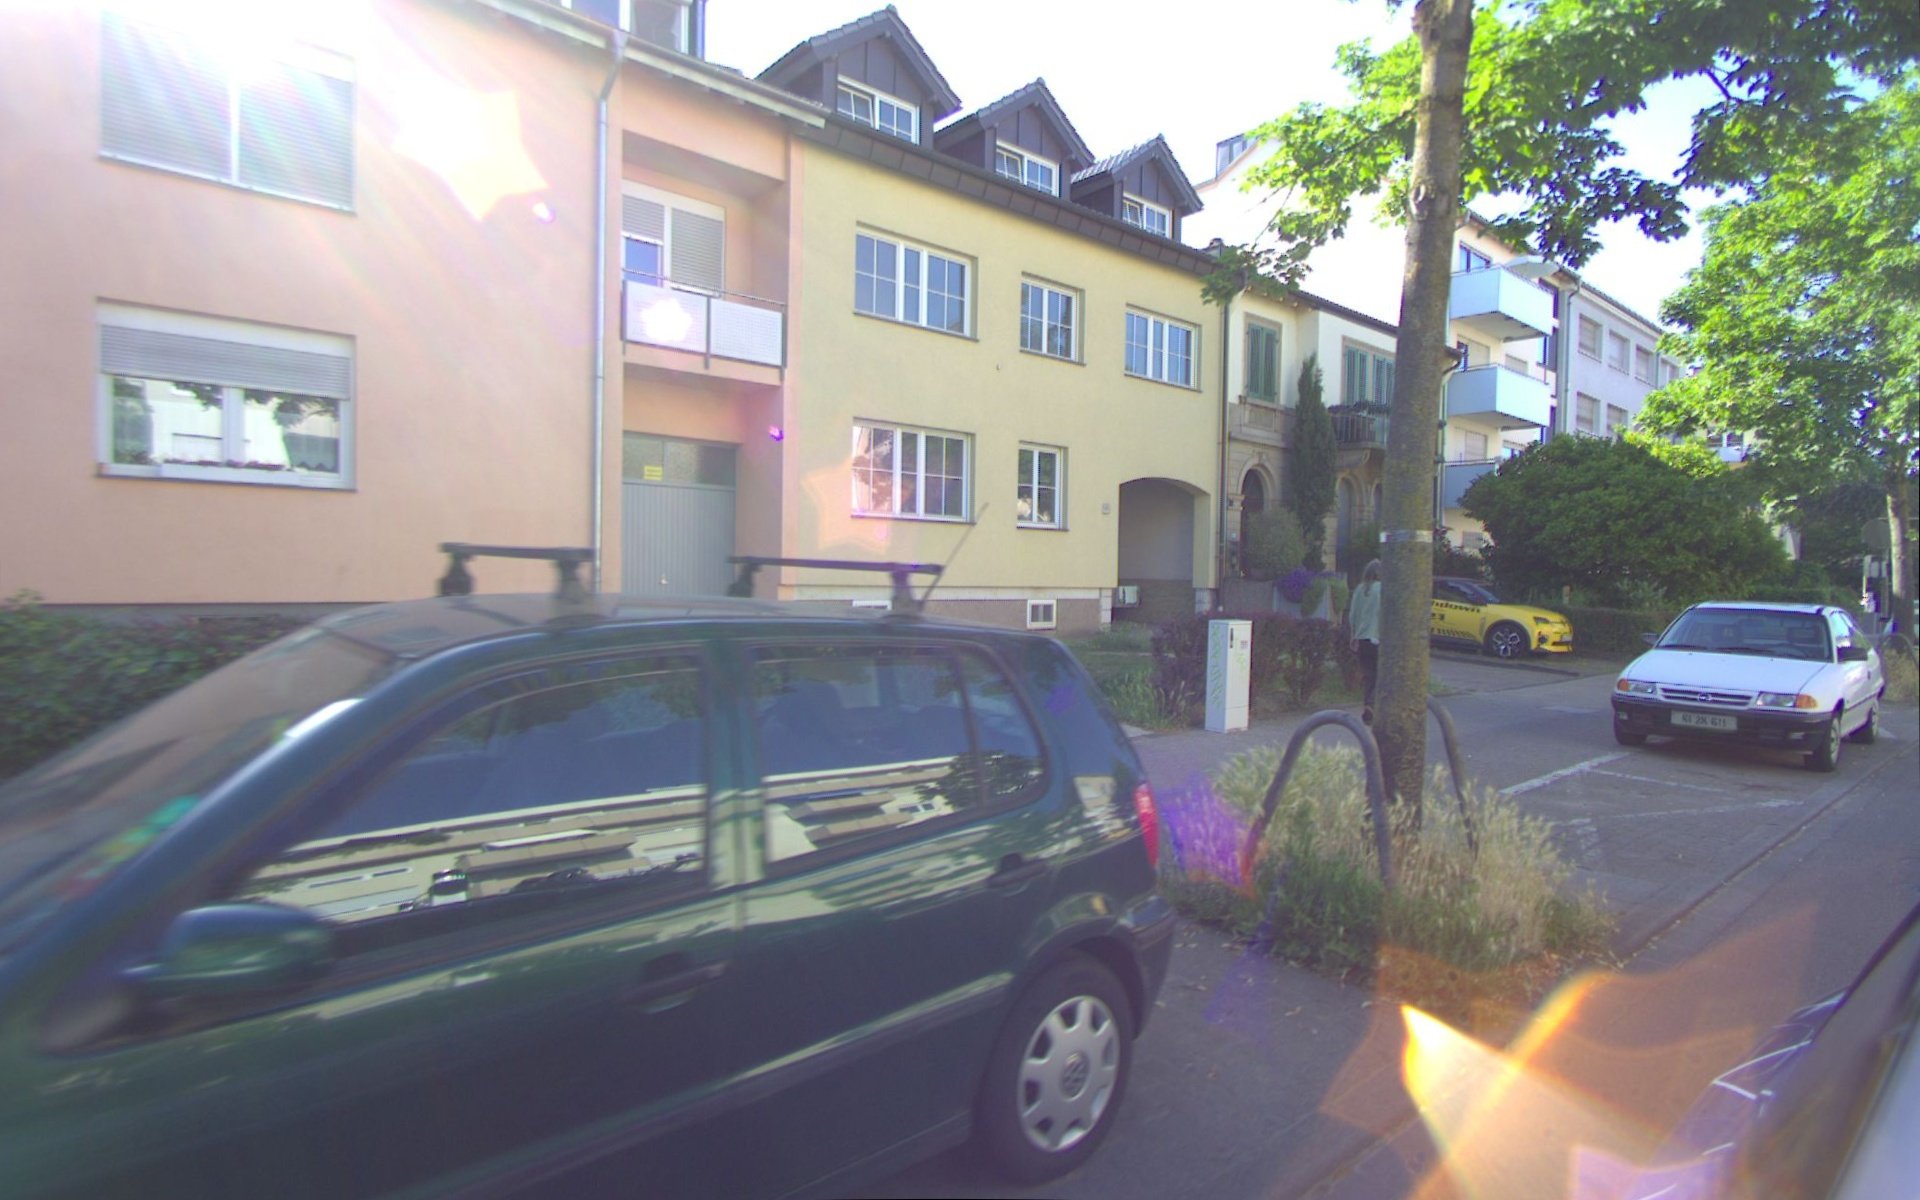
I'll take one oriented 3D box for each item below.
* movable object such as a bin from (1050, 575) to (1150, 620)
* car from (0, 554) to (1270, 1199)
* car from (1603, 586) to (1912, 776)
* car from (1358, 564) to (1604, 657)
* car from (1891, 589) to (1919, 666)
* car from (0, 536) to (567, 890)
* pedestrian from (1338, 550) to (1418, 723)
[{"bbox_3d":[3.238,-0.080,23.476,1.464,0.905,1.779,0,4,-43],"label":"movable object such as a bin"},{"bbox_3d":[-1.002,0.611,2.276,3.653,1.372,1.535,0,2,-41],"label":"car"},{"bbox_3d":[7.910,0.628,9.915,3.901,1.420,1.652,0,3,-41],"label":"car"},{"bbox_3d":[10.465,0.127,20.560,1.799,1.458,3.998,0,5,-40],"label":"car"},{"bbox_3d":[20.337,0.542,20.608,3.798,1.474,1.570,-1,3,-41],"label":"car"},{"bbox_3d":[-4.018,0.418,4.875,3.653,1.372,1.535,0,4,-41],"label":"car"},{"bbox_3d":[4.268,0.351,10.336,0.485,1.698,0.539,0,2,-40],"label":"pedestrian"}]
